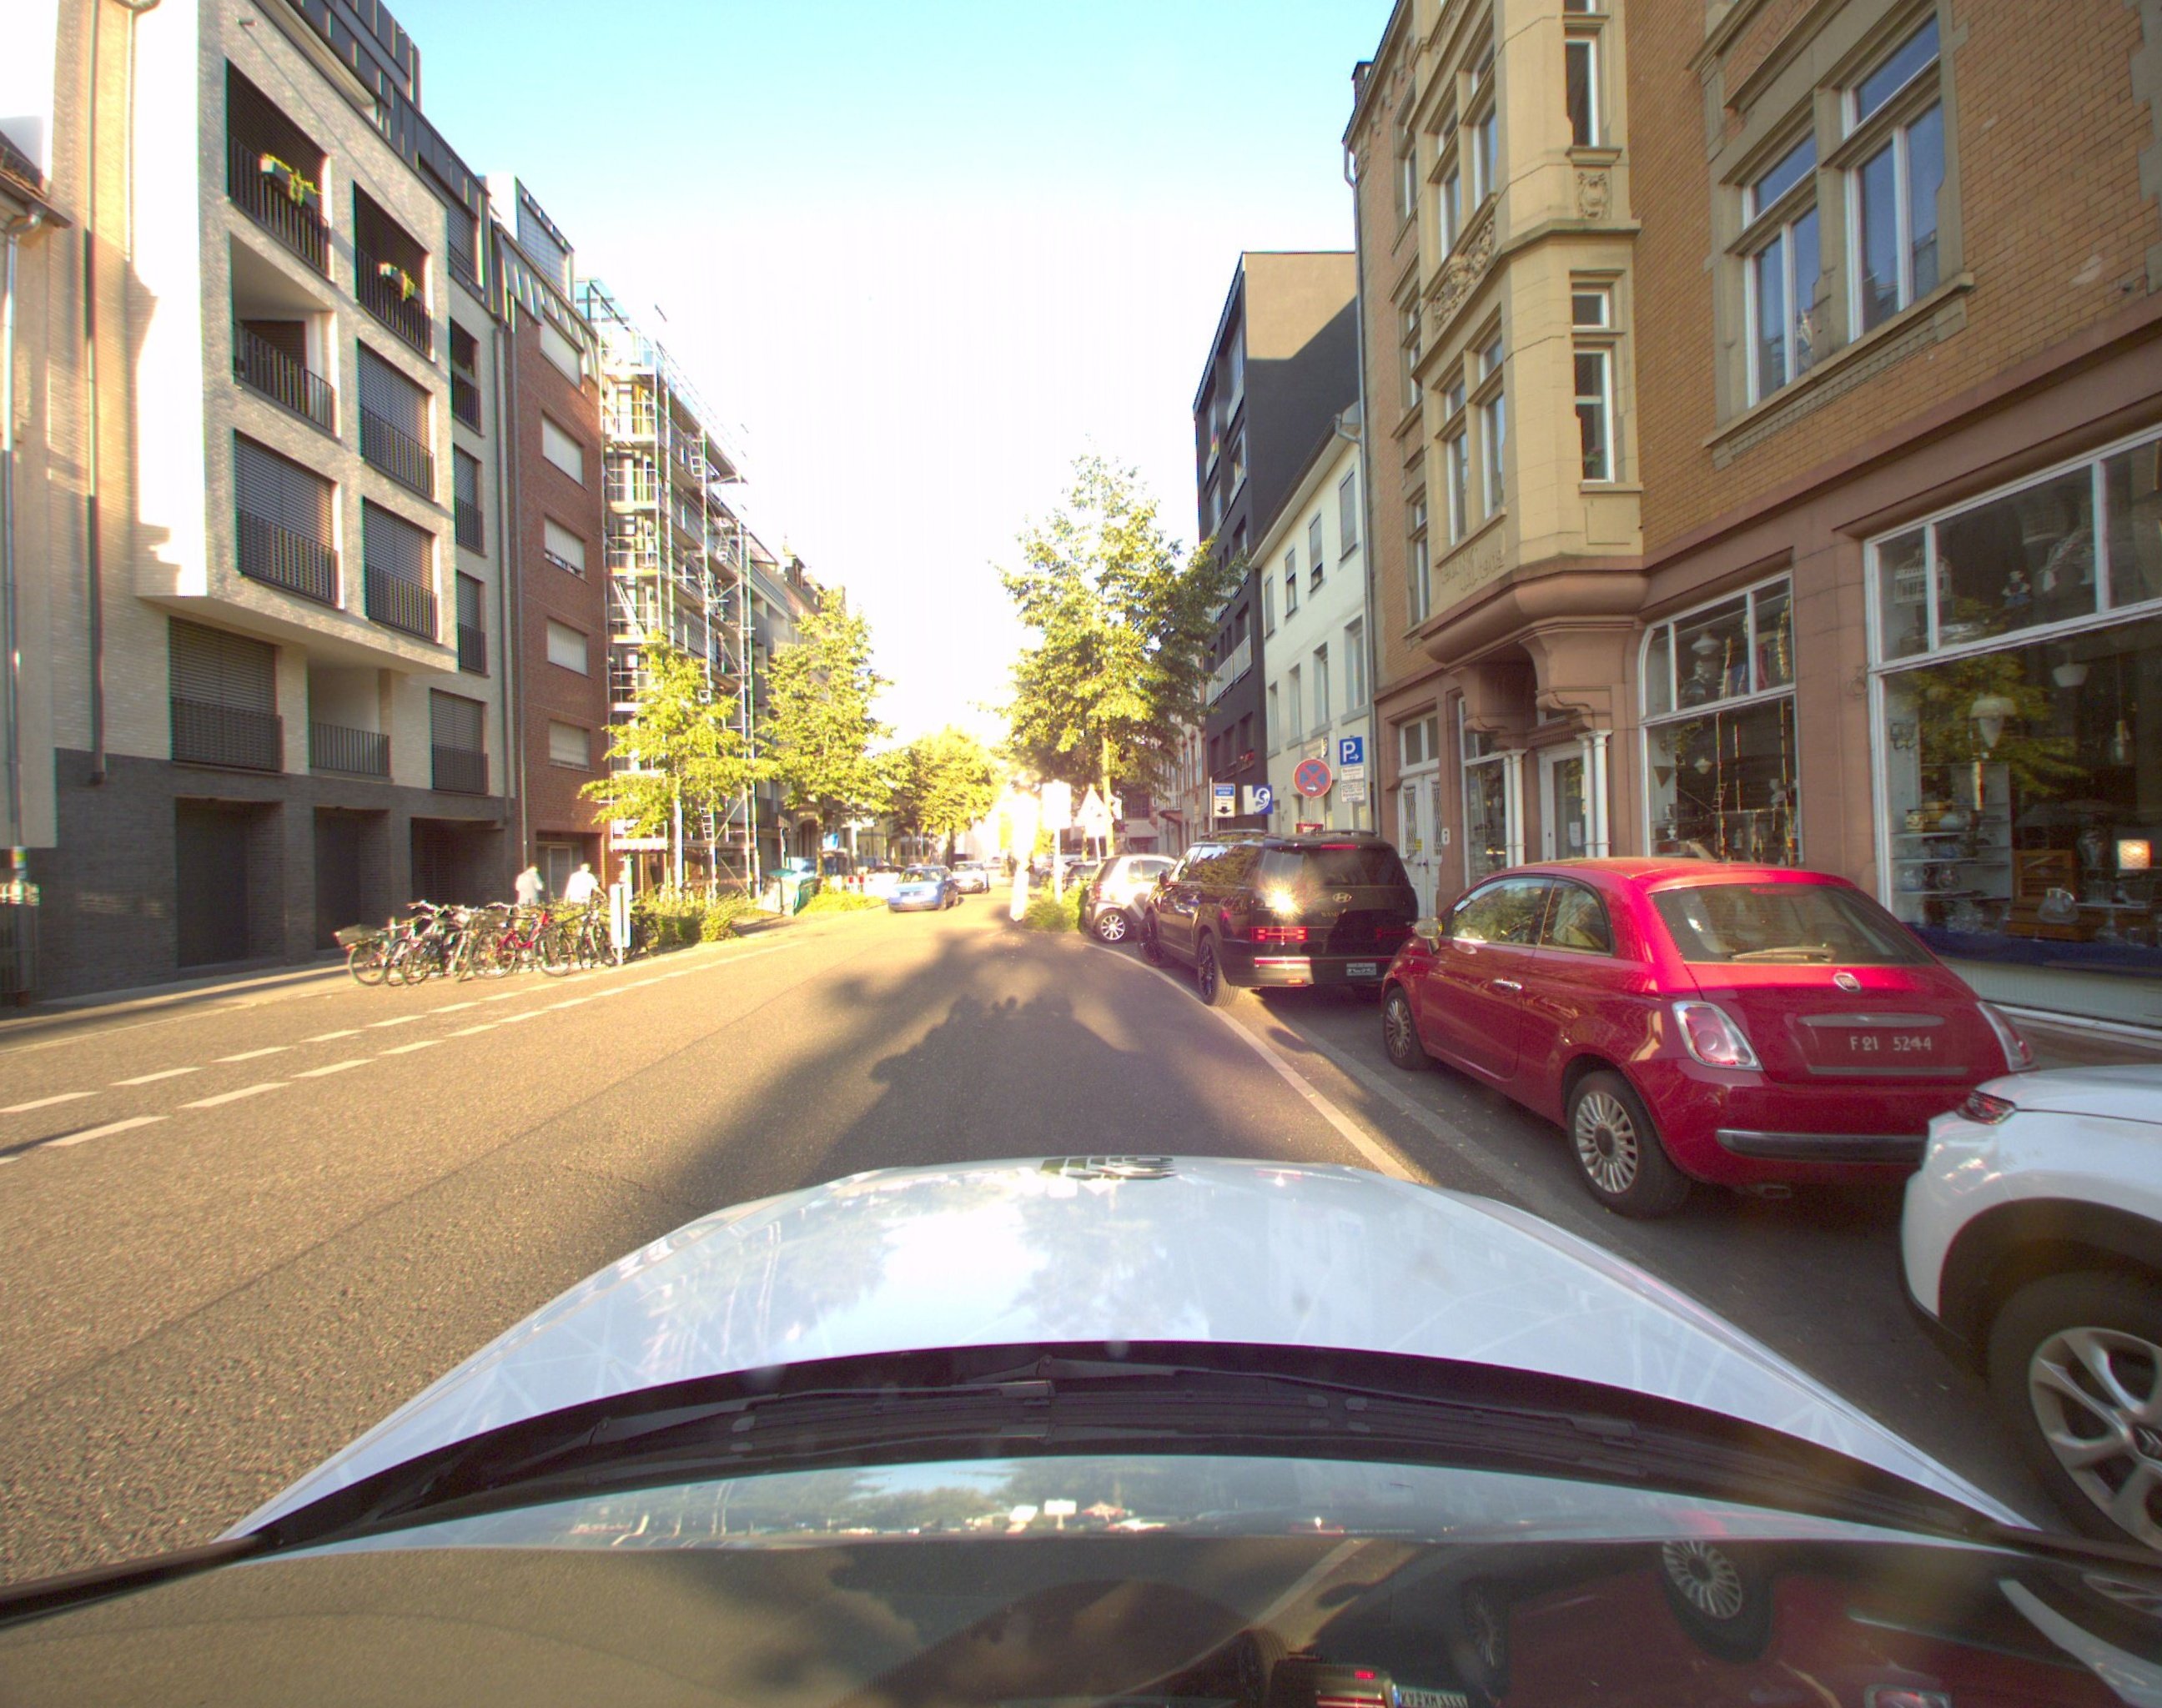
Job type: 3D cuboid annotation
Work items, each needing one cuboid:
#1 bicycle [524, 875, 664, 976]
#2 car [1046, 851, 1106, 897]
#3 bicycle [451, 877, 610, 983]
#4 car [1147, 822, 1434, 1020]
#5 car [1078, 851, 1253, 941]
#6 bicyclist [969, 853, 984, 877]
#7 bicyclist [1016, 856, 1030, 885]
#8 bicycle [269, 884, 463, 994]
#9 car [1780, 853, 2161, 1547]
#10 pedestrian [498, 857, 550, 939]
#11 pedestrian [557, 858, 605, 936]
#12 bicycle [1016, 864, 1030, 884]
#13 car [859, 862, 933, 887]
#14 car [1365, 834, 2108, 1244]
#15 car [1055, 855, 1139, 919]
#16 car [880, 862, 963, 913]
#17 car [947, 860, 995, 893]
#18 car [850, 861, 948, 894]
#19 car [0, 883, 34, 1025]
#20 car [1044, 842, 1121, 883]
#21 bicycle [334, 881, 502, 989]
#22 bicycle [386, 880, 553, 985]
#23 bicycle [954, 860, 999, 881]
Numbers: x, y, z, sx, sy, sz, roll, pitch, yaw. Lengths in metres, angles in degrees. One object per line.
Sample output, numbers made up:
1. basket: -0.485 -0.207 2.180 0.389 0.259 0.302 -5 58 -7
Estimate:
1. bicycle: -7.760 1.061 13.207 0.845 1.351 3.175 -2 0 -10
2. car: -0.307 0.877 36.927 2.262 1.766 4.501 4 -1 -5
3. bicycle: -8.641 1.110 13.029 0.893 1.395 3.154 -1 0 -10
4. car: 2.018 0.594 9.287 1.822 1.695 4.360 0 -1 -5
5. car: 1.493 0.727 14.989 2.965 1.536 1.430 0 -1 -7
6. bicyclist: -7.595 0.826 59.067 1.003 1.696 0.781 -2 -1 -7
7. bicyclist: -3.527 1.005 49.758 0.779 1.696 1.005 -2 -1 -5
8. bicycle: -10.832 1.196 12.557 0.721 1.395 3.141 0 -1 -10
9. car: 2.996 0.669 0.588 1.662 1.378 3.800 0 -1 -2
10. pedestrian: -12.248 0.948 17.929 0.717 1.767 0.692 0 -1 -10
11. pedestrian: -11.493 0.966 18.754 0.717 1.740 0.736 0 -1 -10
12. bicycle: -3.551 1.204 49.768 0.779 1.204 2.017 -2 -1 -4
13. car: -11.244 1.235 49.741 4.090 1.466 1.889 0 -1 -1
14. car: 2.984 0.689 4.629 1.582 1.483 3.265 0 -1 0
15. car: 0.351 0.893 23.661 1.990 1.668 4.501 0 -1 -5
16. car: -5.009 1.006 26.105 1.833 1.441 4.329 -2 -1 -1
17. car: -5.295 1.056 39.552 1.880 1.480 4.455 0 -1 -2
18. car: -8.394 1.090 37.799 4.090 1.466 1.889 0 -1 -1
19. car: -14.530 1.153 8.525 4.480 1.601 2.000 0 -1 0
20. car: 0.119 0.416 43.214 3.972 2.013 2.001 -2 0 2
21. bicycle: -10.169 1.151 12.697 0.585 1.395 3.149 0 -1 -10
22. bicycle: -9.482 1.131 12.850 0.781 1.373 3.131 0 -1 -10
23. bicycle: -7.580 1.195 59.077 3.175 1.351 0.845 -2 -1 -9
